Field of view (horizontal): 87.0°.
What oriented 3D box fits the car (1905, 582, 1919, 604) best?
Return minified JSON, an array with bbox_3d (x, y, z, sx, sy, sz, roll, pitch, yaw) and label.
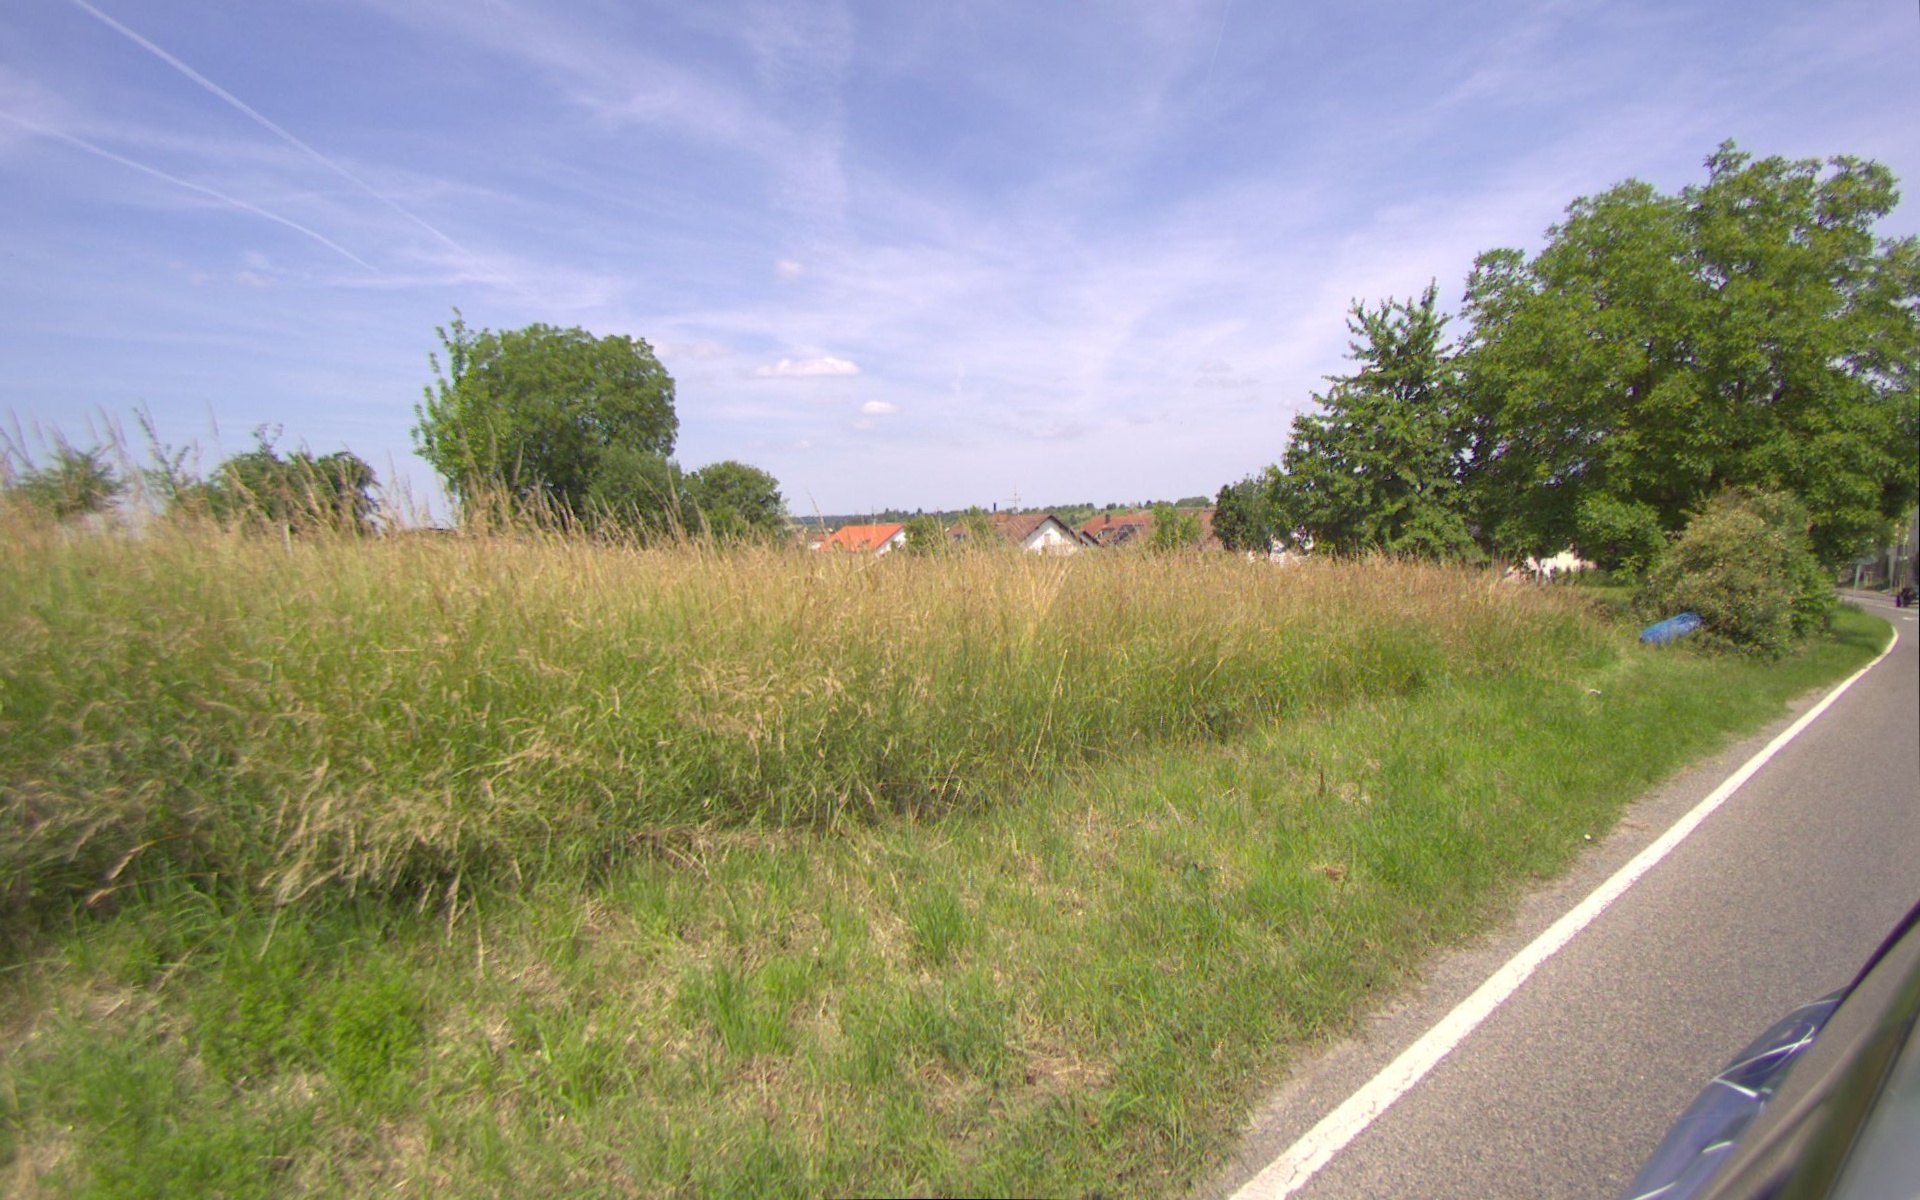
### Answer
[{"bbox_3d":[71.542,-0.468,74.538,1.813,1.600,3.961,2,2,28],"label":"car"}]
